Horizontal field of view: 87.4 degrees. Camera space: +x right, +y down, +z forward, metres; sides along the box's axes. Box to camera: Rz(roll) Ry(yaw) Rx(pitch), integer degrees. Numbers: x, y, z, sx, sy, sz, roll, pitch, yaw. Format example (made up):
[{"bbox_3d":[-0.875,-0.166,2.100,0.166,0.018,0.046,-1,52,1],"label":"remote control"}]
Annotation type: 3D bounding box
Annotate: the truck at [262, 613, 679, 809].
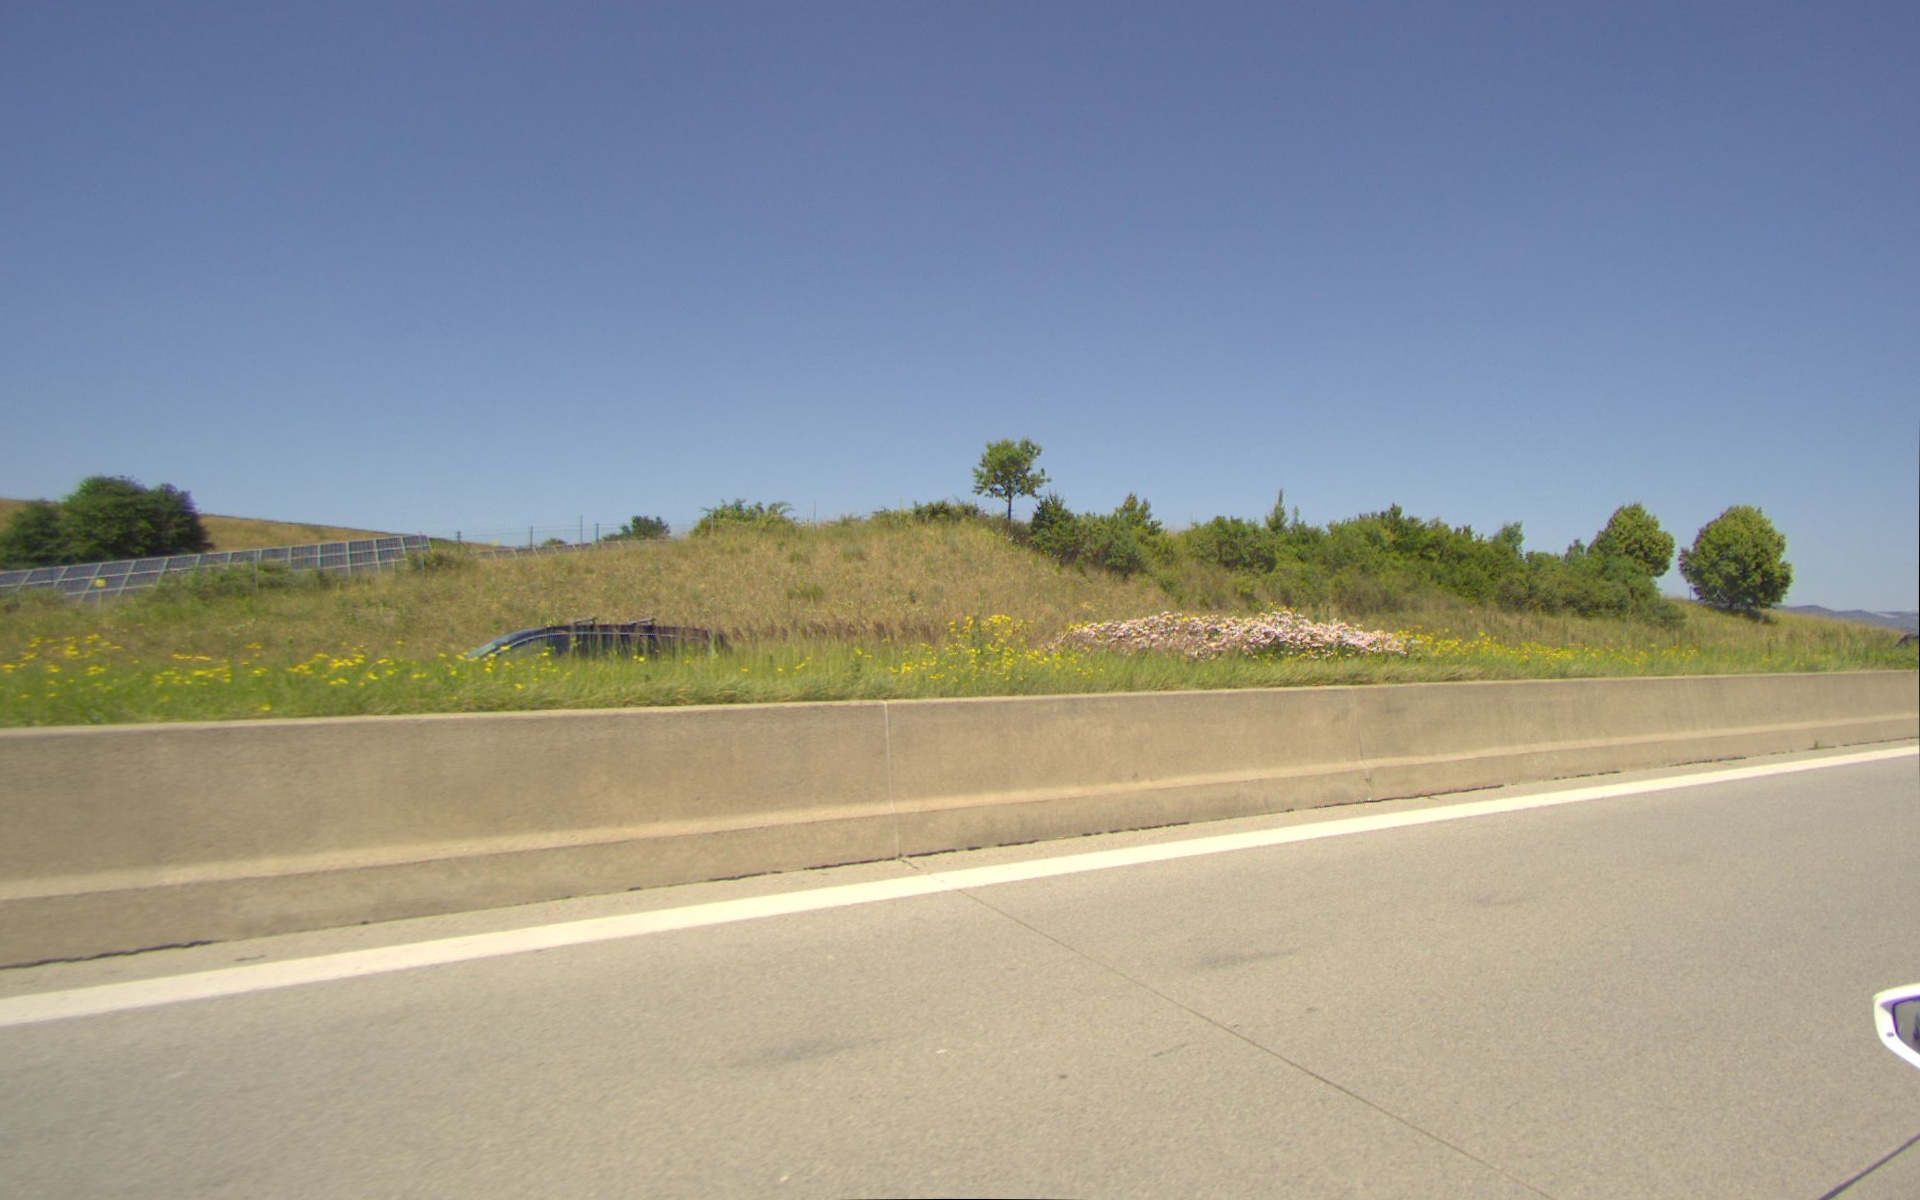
[{"bbox_3d":[-5.397,1.113,11.378,3.925,1.840,1.813,1,0,-30],"label":"truck"}]
